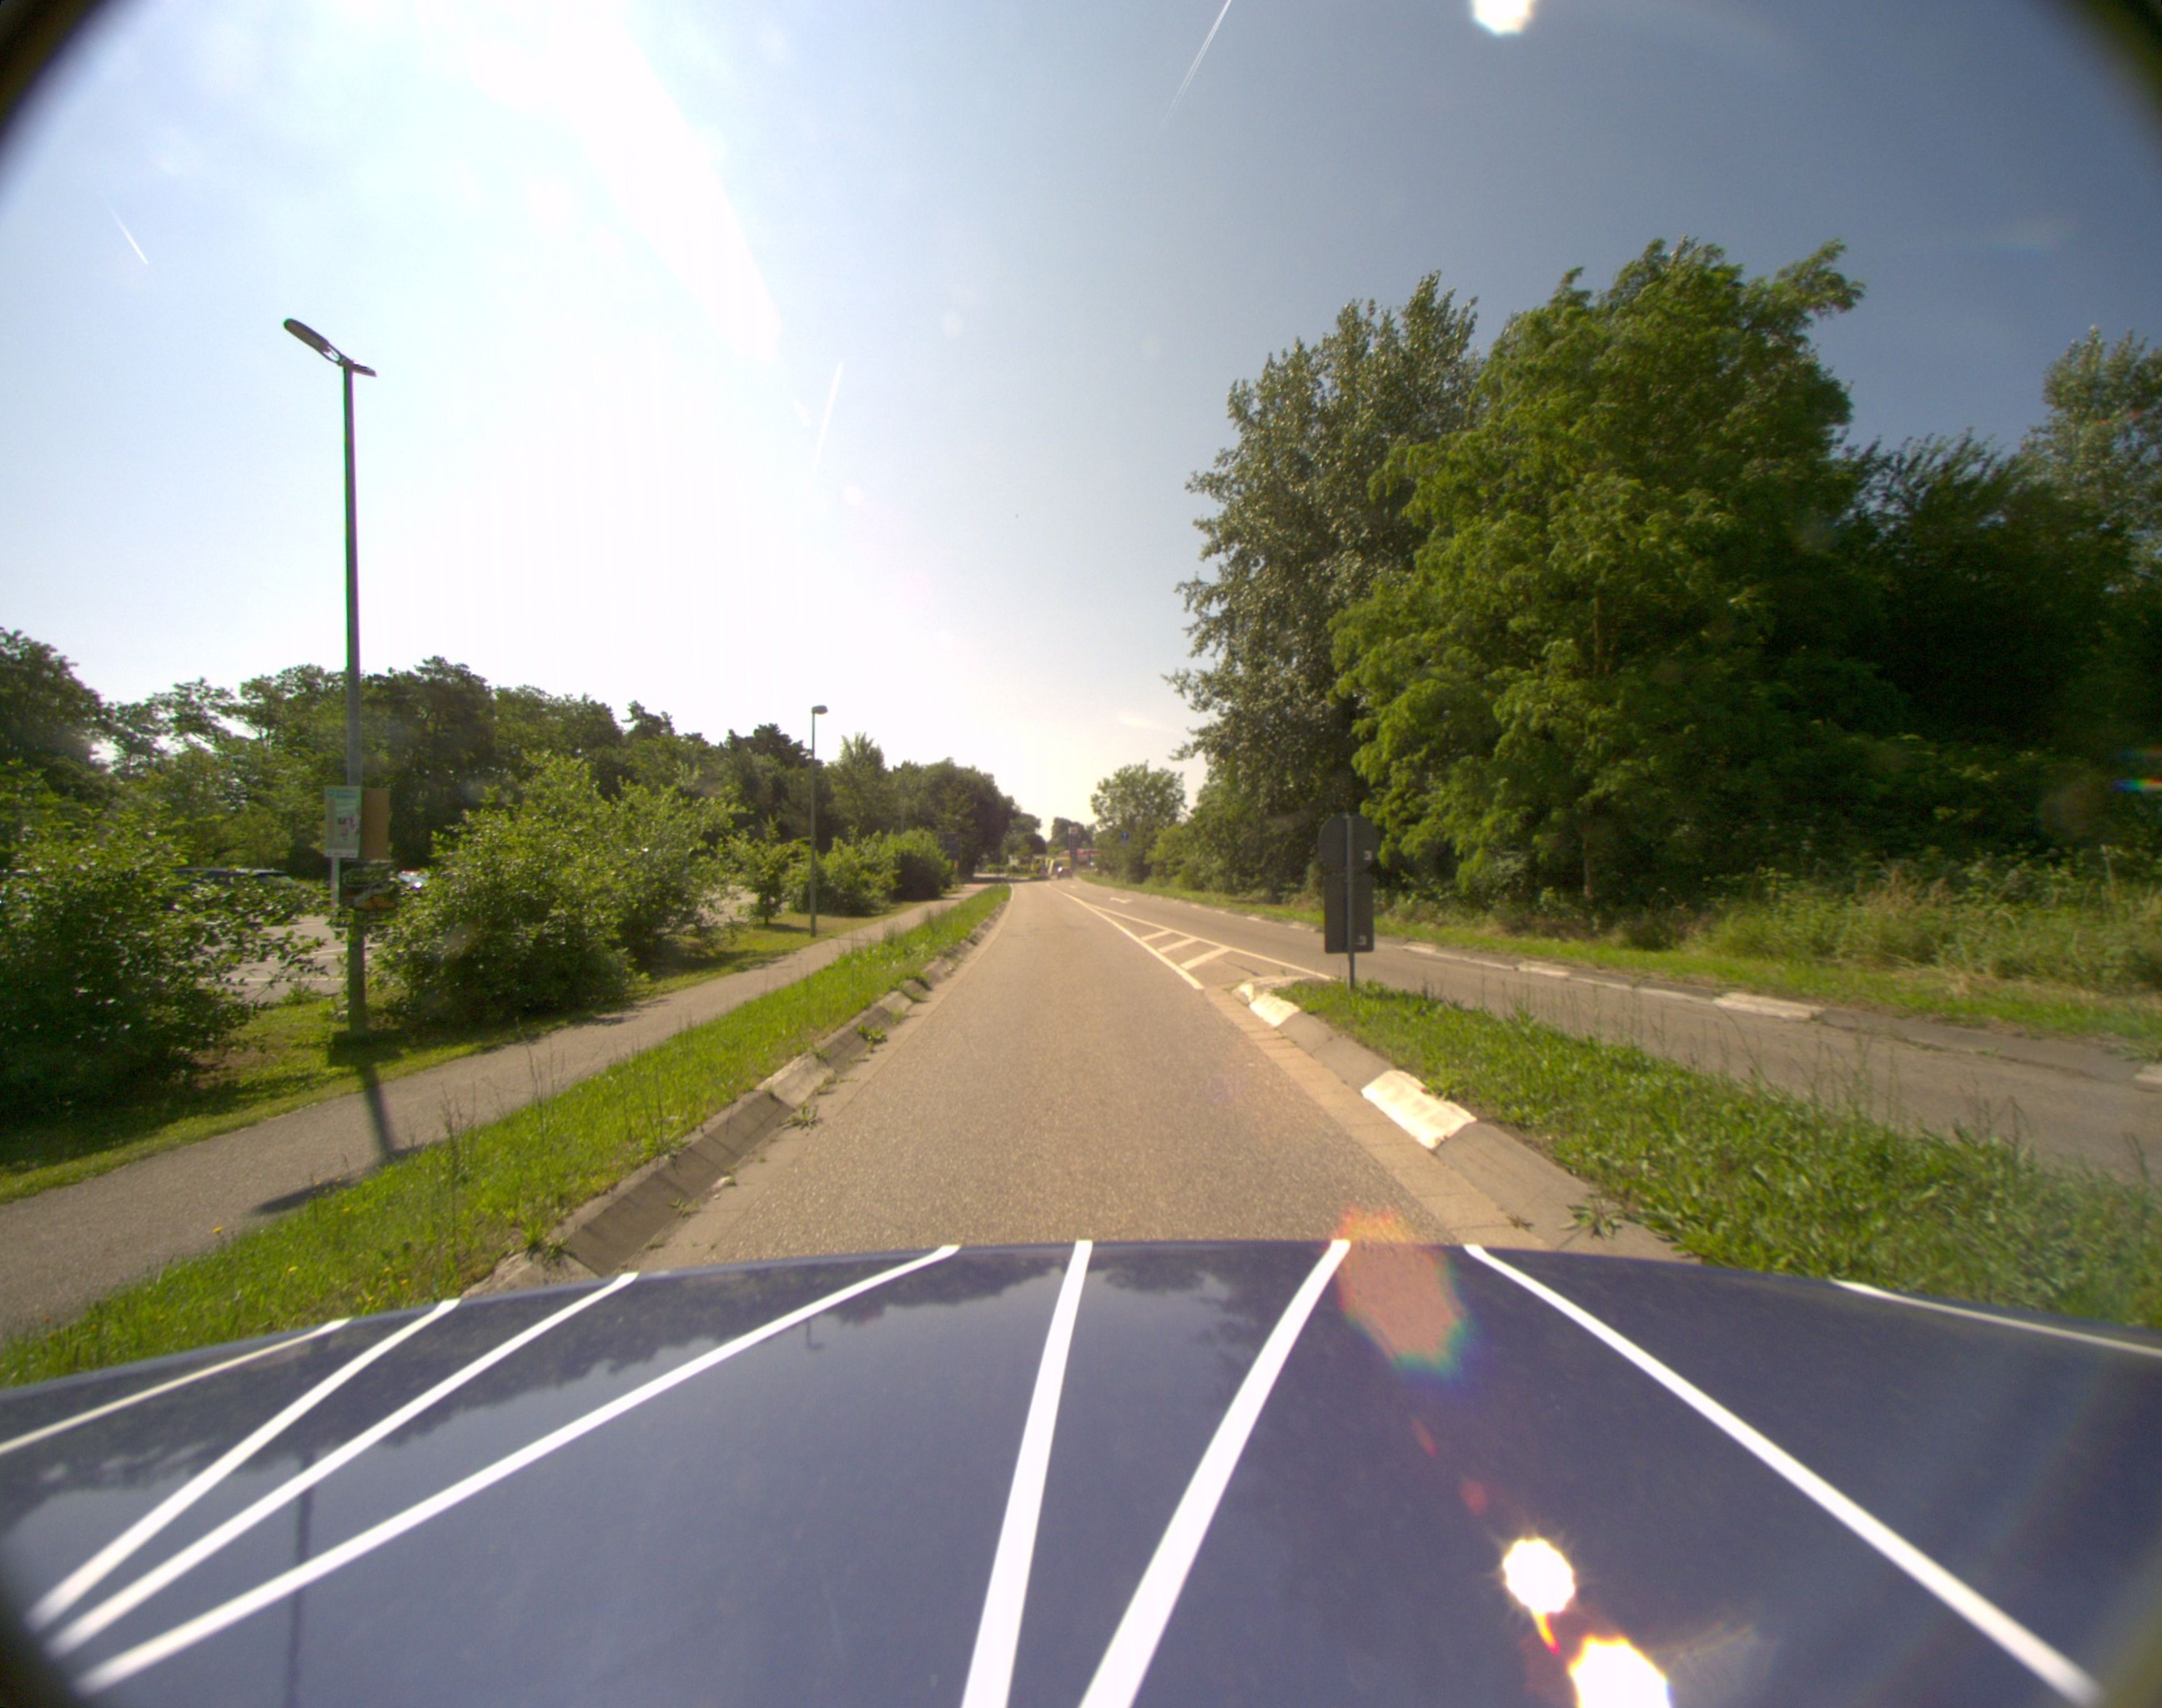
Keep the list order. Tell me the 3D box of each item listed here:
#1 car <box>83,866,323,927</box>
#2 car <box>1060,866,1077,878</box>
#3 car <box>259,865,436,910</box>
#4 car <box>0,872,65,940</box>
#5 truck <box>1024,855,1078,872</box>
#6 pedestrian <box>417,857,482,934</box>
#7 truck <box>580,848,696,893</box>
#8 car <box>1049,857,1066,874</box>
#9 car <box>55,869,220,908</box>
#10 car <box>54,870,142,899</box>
[{"bbox_3d":[-24.748,1.151,21.584,4.166,1.564,1.999,-1,-1,-7],"label":"car"},{"bbox_3d":[-1.571,2.143,91.328,1.703,1.381,4.292,-1,-1,-5],"label":"car"},{"bbox_3d":[-24.698,1.093,25.734,4.001,1.419,1.748,0,-1,-11],"label":"car"},{"bbox_3d":[-24.739,1.115,16.138,3.998,1.433,1.650,0,-1,-2],"label":"car"},{"bbox_3d":[-6.016,1.849,150.410,10.339,3.373,3.883,0,0,-7],"label":"truck"},{"bbox_3d":[-14.891,0.960,17.939,0.821,1.787,0.866,0,0,-3],"label":"pedestrian"},{"bbox_3d":[-26.441,0.986,45.528,5.615,2.590,2.202,0,0,-5],"label":"truck"},{"bbox_3d":[-3.391,1.662,108.416,1.918,2.386,4.907,-1,-1,-7],"label":"car"},{"bbox_3d":[-40.724,1.458,32.943,4.006,1.575,1.966,0,-1,-26],"label":"car"},{"bbox_3d":[-62.623,1.909,48.499,2.075,1.701,3.991,0,-1,-30],"label":"car"}]
